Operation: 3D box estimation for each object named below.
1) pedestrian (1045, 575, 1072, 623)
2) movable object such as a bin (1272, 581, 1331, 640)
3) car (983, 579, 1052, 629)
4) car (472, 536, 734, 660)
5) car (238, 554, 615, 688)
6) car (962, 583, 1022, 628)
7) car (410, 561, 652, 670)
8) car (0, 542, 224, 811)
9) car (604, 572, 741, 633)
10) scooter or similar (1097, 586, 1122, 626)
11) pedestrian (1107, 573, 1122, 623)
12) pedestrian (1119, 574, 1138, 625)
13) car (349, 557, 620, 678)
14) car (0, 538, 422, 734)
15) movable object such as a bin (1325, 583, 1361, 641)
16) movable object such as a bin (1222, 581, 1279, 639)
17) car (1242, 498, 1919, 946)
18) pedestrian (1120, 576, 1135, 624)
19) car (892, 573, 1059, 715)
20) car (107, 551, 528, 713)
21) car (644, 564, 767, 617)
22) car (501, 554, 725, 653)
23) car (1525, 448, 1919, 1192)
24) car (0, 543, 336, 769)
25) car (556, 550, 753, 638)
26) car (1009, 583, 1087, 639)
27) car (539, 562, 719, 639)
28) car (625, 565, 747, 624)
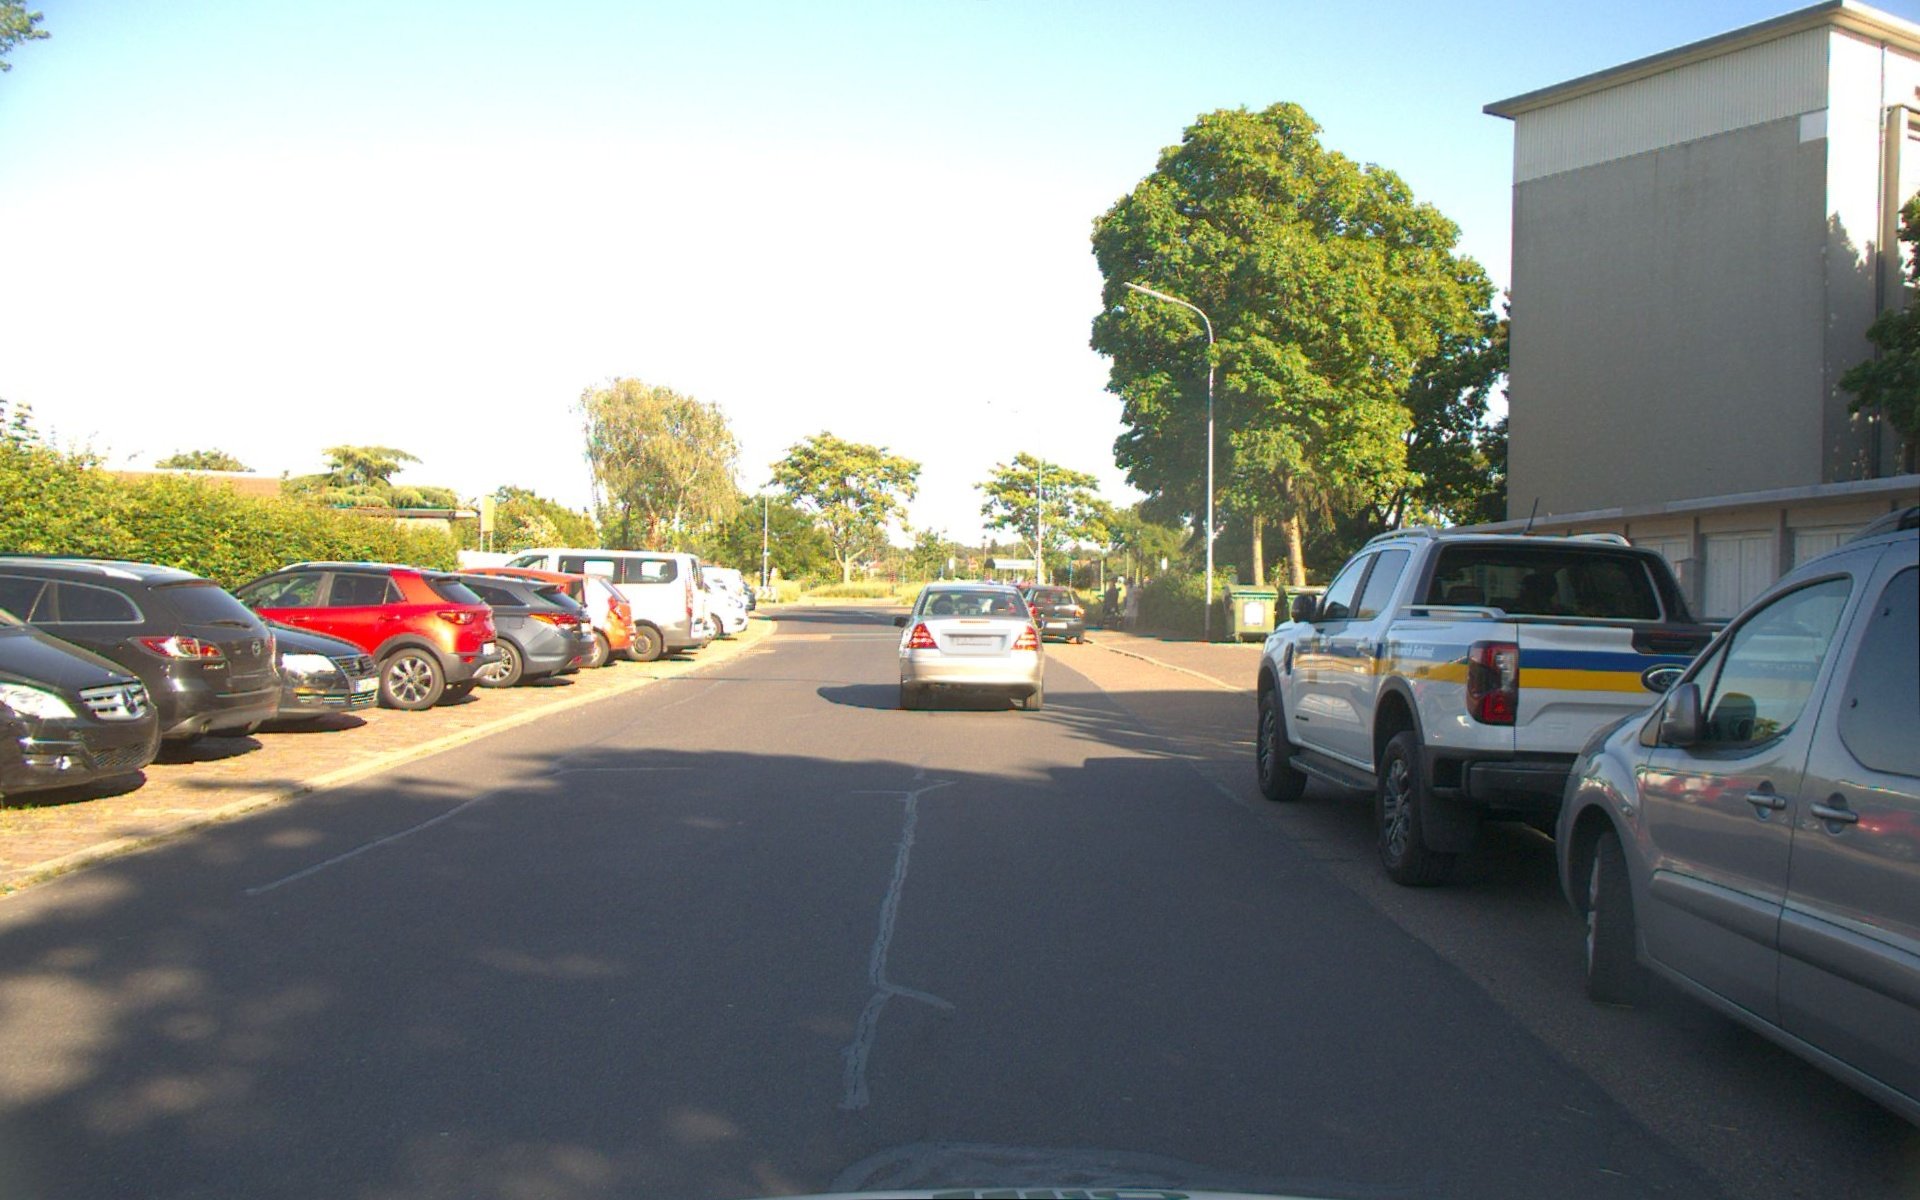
[{"bbox_3d":[3.384,-0.025,56.944,0.772,1.592,0.569,3,-1,-6],"label":"pedestrian"},{"bbox_3d":[8.592,0.264,41.632,1.249,1.440,0.950,1,0,-4],"label":"movable object such as a bin"},{"bbox_3d":[1.768,0.112,51.566,1.545,1.471,3.783,2,0,-7],"label":"car"},{"bbox_3d":[-6.595,-0.035,30.949,4.389,2.011,1.999,3,0,-2],"label":"car"},{"bbox_3d":[-7.101,0.256,22.333,4.452,1.505,1.747,3,1,-1],"label":"car"},{"bbox_3d":[1.148,0.183,61.523,1.698,1.570,3.783,2,0,-7],"label":"car"},{"bbox_3d":[-7.142,0.233,27.823,3.529,1.594,1.852,3,1,-1],"label":"car"},{"bbox_3d":[-7.129,0.365,10.612,3.907,1.559,1.831,3,0,-3],"label":"car"},{"bbox_3d":[-7.874,0.061,45.480,3.444,1.471,1.636,3,0,-3],"label":"car"},{"bbox_3d":[4.717,0.175,52.187,0.611,1.248,0.904,0,0,-5],"label":"scooter or similar"},{"bbox_3d":[4.966,-0.047,53.270,0.471,1.592,0.597,-1,-1,5],"label":"pedestrian"},{"bbox_3d":[5.308,-0.003,52.153,0.476,1.592,0.468,0,-1,-9],"label":"pedestrian"},{"bbox_3d":[-7.199,0.237,25.316,3.529,1.594,1.881,3,1,-1],"label":"car"},{"bbox_3d":[-7.261,0.292,15.217,3.939,1.539,1.905,3,0,-3],"label":"car"},{"bbox_3d":[9.604,0.293,41.481,0.709,1.440,0.688,1,0,-4],"label":"movable object such as a bin"},{"bbox_3d":[7.305,0.247,41.566,1.213,1.428,0.914,1,0,-4],"label":"movable object such as a bin"},{"bbox_3d":[3.172,0.485,9.880,1.868,1.872,5.273,3,1,-1],"label":"car"},{"bbox_3d":[5.450,0.008,53.731,0.354,1.529,0.500,-1,-1,-8],"label":"pedestrian"},{"bbox_3d":[0.085,0.452,20.263,1.780,1.488,4.359,2,1,-2],"label":"car"},{"bbox_3d":[-7.025,0.326,18.374,3.906,1.505,1.791,3,1,-1],"label":"car"},{"bbox_3d":[-10.294,-0.377,66.884,4.783,1.949,1.995,1,0,-10],"label":"car"},{"bbox_3d":[-6.951,0.068,33.450,4.068,1.735,1.883,3,0,-2],"label":"car"},{"bbox_3d":[3.280,0.564,4.610,1.796,1.822,4.556,3,1,0],"label":"car"},{"bbox_3d":[-7.216,0.349,12.811,4.011,1.539,1.811,3,0,-3],"label":"car"},{"bbox_3d":[-7.776,-0.141,42.496,4.695,1.954,2.080,3,0,-5],"label":"car"},{"bbox_3d":[2.287,0.285,44.003,1.615,1.427,3.879,0,0,-4],"label":"car"},{"bbox_3d":[-7.915,0.019,39.832,3.906,1.610,1.883,3,0,-2],"label":"car"},{"bbox_3d":[-9.096,-0.202,55.113,3.903,1.811,1.922,2,1,-9],"label":"car"}]
